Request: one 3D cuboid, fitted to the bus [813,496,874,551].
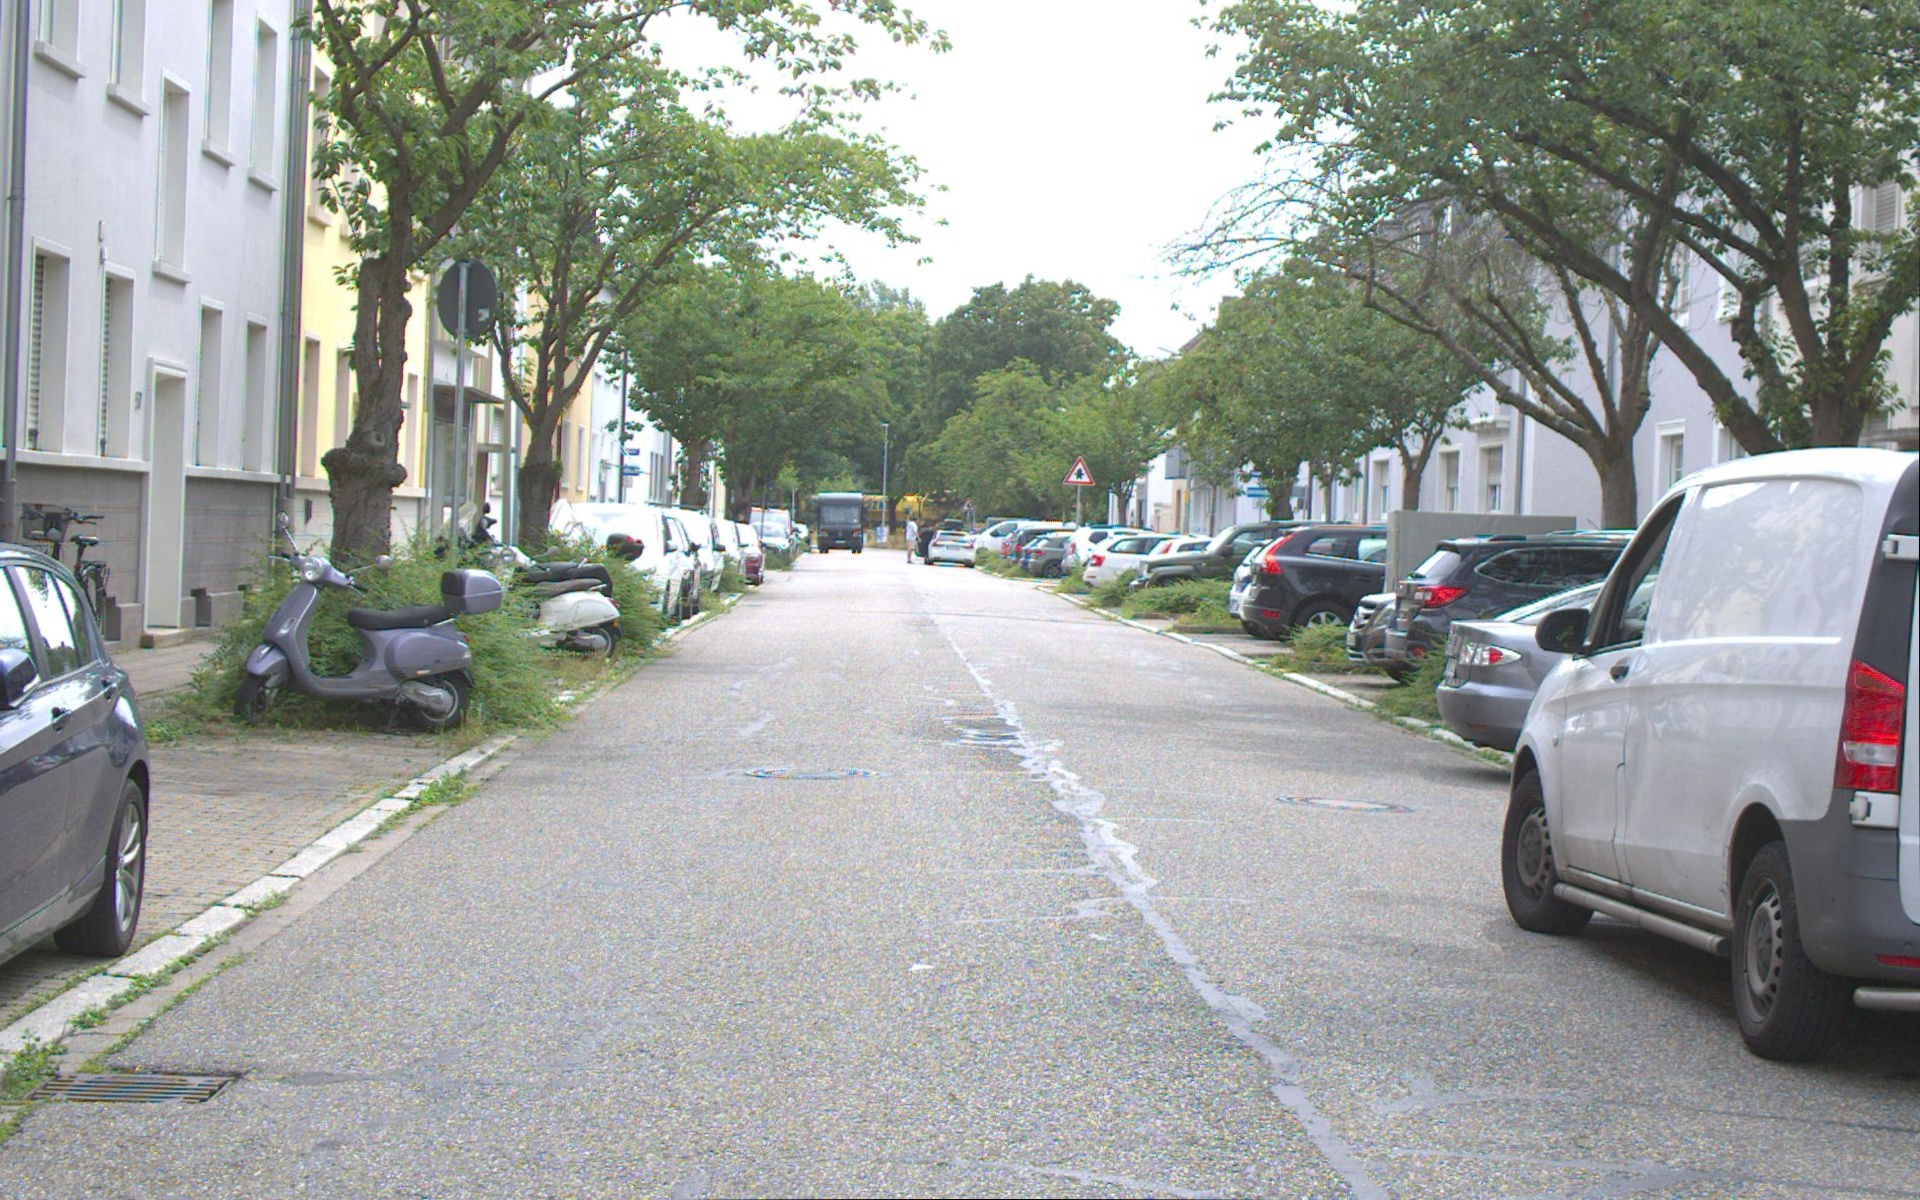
[{"bbox_3d":[-5.990,-3.873,175.732,3.003,2.752,8.925,0,1,-3],"label":"bus"}]

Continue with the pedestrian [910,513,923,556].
[{"bbox_3d":[-1.712,-2.590,135.367,0.522,1.698,0.444,0,1,2],"label":"pedestrian"}]

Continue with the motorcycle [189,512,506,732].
[{"bbox_3d":[-4.024,0.133,22.553,2.011,1.402,0.793,0,1,-12],"label":"motorcycle"}]

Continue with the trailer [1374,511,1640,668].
[{"bbox_3d":[6.440,-0.135,40.667,2.961,1.825,1.400,0,1,2],"label":"trailer"}]

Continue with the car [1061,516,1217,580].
[{"bbox_3d":[4.593,-1.346,88.644,3.923,1.627,1.868,0,1,0],"label":"car"}]

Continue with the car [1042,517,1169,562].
[{"bbox_3d":[4.400,-1.837,104.294,3.747,1.361,1.773,0,1,0],"label":"car"}]

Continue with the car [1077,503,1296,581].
[{"bbox_3d":[4.892,-1.257,74.603,4.614,1.658,1.892,0,1,0],"label":"car"}]

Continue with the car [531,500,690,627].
[{"bbox_3d":[-4.555,-0.495,45.286,1.757,1.551,4.256,1,1,-2],"label":"car"}]

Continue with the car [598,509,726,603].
[{"bbox_3d":[-5.124,-0.769,59.593,1.918,1.576,4.382,0,1,-1],"label":"car"}]

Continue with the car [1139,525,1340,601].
[{"bbox_3d":[5.366,-0.713,66.267,3.624,1.449,1.773,0,1,-5],"label":"car"}]

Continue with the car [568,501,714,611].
[{"bbox_3d":[-4.726,-0.654,51.497,1.790,1.487,4.812,3,0,-1],"label":"car"}]

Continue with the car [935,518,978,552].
[{"bbox_3d":[-0.151,-2.571,136.063,1.687,1.349,3.826,0,1,0],"label":"car"}]

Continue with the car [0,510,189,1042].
[{"bbox_3d":[-3.602,0.431,10.179,1.836,1.479,4.122,5,1,-4],"label":"car"}]

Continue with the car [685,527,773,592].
[{"bbox_3d":[-5.373,-0.959,80.407,1.877,1.481,4.513,0,1,-2],"label":"car"}]

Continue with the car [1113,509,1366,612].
[{"bbox_3d":[5.112,-0.733,63.255,4.525,1.851,1.793,0,1,1],"label":"car"}]

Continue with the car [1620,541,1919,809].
[{"bbox_3d":[6.103,0.418,20.515,3.986,1.531,1.638,0,1,-2],"label":"car"}]

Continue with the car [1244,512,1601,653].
[{"bbox_3d":[5.728,-0.230,42.944,4.215,1.730,1.904,0,1,1],"label":"car"}]

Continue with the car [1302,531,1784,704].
[{"bbox_3d":[5.514,0.145,32.863,4.214,1.592,1.904,0,1,-3],"label":"car"}]

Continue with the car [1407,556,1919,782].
[{"bbox_3d":[5.127,0.434,23.071,3.986,1.450,1.767,0,1,-2],"label":"car"}]

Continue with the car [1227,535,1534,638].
[{"bbox_3d":[5.834,-0.199,48.014,3.986,1.405,1.768,0,1,-4],"label":"car"}]

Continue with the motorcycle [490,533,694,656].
[{"bbox_3d":[-3.615,-0.067,33.817,1.905,1.187,0.597,0,1,-28],"label":"motorcycle"}]

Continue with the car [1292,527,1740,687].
[{"bbox_3d":[5.660,0.052,35.333,4.214,1.592,1.904,0,1,-4],"label":"car"}]

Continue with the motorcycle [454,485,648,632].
[{"bbox_3d":[-4.921,-0.505,41.215,0.936,1.670,2.473,1,2,-45],"label":"motorcycle"}]

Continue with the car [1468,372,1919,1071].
[{"bbox_3d":[3.284,0.350,11.834,1.993,1.908,4.705,4,1,-4],"label":"car"}]

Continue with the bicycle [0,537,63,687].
[{"bbox_3d":[-6.578,0.067,23.700,0.420,1.003,1.434,0,1,0],"label":"bicycle"}]

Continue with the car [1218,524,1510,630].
[{"bbox_3d":[5.899,-0.346,50.478,3.986,1.525,1.768,0,1,-4],"label":"car"}]

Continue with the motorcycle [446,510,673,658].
[{"bbox_3d":[-4.056,-0.171,34.902,2.231,1.476,0.597,0,1,-28],"label":"motorcycle"}]

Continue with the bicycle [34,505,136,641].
[{"bbox_3d":[-6.662,-0.212,26.222,0.420,1.003,1.434,0,1,0],"label":"bicycle"}]

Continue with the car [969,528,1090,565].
[{"bbox_3d":[2.906,-2.254,144.416,4.974,1.513,1.769,0,1,-3],"label":"car"}]
